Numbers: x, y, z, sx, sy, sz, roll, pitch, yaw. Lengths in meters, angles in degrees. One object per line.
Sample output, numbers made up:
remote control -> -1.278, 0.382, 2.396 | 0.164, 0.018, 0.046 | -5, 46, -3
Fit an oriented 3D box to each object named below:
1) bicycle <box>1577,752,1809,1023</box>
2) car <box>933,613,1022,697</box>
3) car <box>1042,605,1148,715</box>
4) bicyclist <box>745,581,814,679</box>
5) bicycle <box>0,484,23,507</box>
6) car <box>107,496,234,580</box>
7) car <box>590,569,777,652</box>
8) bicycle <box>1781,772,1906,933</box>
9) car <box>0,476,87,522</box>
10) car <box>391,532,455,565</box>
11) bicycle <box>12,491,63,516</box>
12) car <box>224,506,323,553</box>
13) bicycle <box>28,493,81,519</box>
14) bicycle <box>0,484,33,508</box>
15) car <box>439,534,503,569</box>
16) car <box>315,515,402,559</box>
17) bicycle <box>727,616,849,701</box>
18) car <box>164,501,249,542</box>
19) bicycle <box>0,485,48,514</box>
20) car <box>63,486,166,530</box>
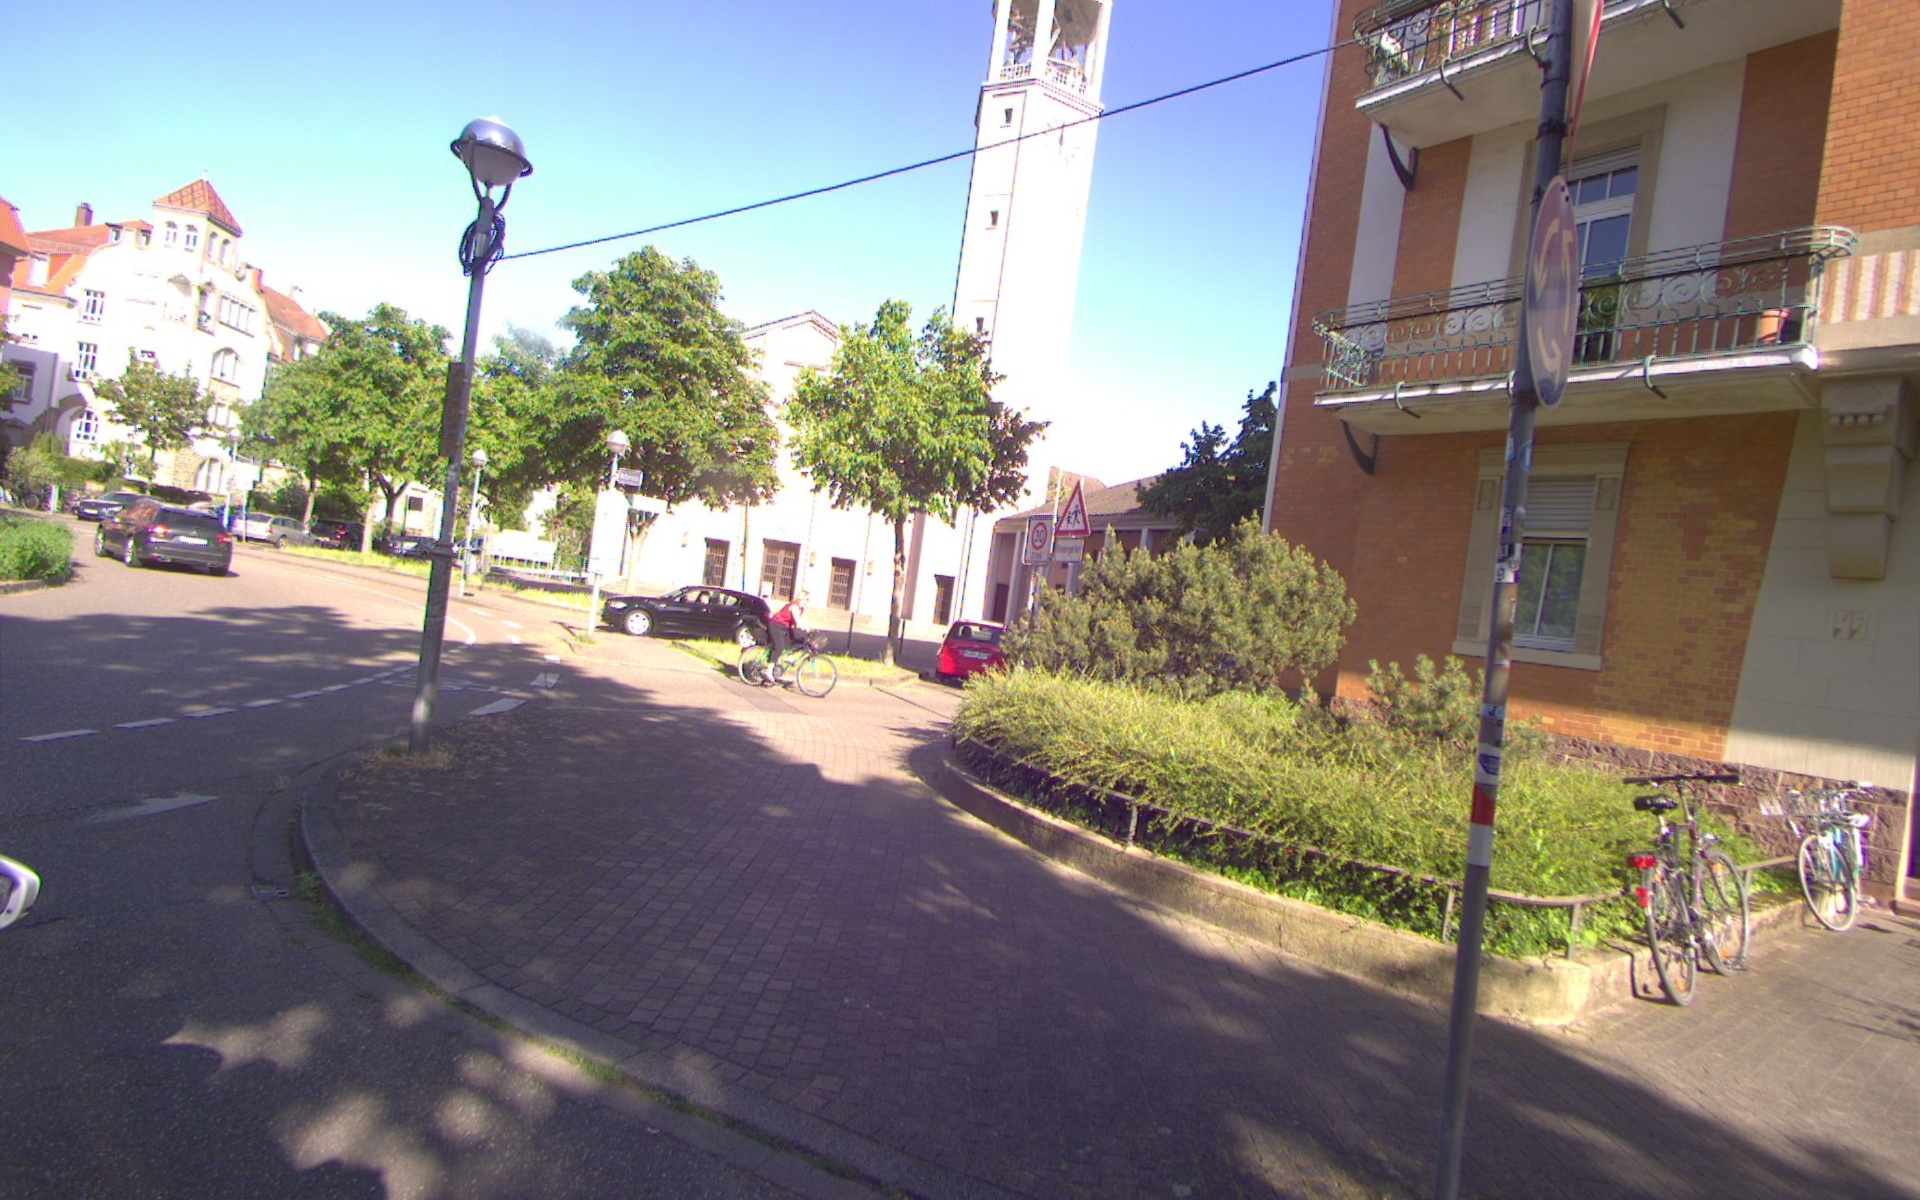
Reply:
bicycle -> 4.036, 1.471, 5.452 | 2.214, 1.173, 0.384 | 9, 0, -40
car -> 0.466, 1.155, 22.166 | 1.543, 1.490, 3.517 | 8, -1, 5
car -> 3.068, 1.317, 23.178 | 1.962, 2.037, 4.003 | 8, -1, 7
bicyclist -> -2.850, 0.478, 15.881 | 0.728, 1.433, 0.510 | 8, 0, 28
bicycle -> -40.501, -4.483, 42.276 | 1.990, 0.810, 0.479 | 8, 0, 11
car -> -18.335, -1.473, 23.301 | 4.090, 1.501, 1.711 | 8, 0, 45
car -> -6.700, 0.259, 24.462 | 3.958, 1.403, 1.728 | 9, -1, -30
bicycle -> 6.902, 1.919, 7.830 | 1.671, 1.073, 0.384 | 9, 0, -40
car -> -36.678, -4.028, 39.540 | 1.730, 1.385, 3.640 | 8, -1, -7
car -> -30.177, -2.875, 56.640 | 1.631, 1.454, 3.457 | 8, -1, -1
bicycle -> -40.739, -4.262, 44.430 | 2.243, 0.832, 0.479 | 8, 0, 16
car -> -29.520, -2.994, 43.415 | 1.532, 1.472, 3.975 | 8, -1, -3
bicycle -> -40.601, -4.218, 45.112 | 2.243, 0.795, 0.626 | 8, 0, 16
bicycle -> -40.509, -4.456, 42.771 | 2.243, 0.810, 0.479 | 8, 0, 16
car -> -27.538, -2.703, 56.794 | 1.764, 1.472, 3.782 | 8, -1, -3
car -> -26.174, -2.706, 43.925 | 1.532, 1.472, 3.736 | 8, -1, -3
bicycle -> -2.697, 0.903, 15.727 | 1.843, 1.048, 0.508 | 8, 0, 28
car -> -37.759, -3.905, 50.486 | 1.642, 1.505, 3.474 | 8, -1, -4
bicycle -> -40.457, -4.336, 43.404 | 2.243, 0.925, 0.479 | 8, 0, 16
car -> -37.441, -4.051, 44.668 | 1.731, 1.385, 3.638 | 8, -1, -10
